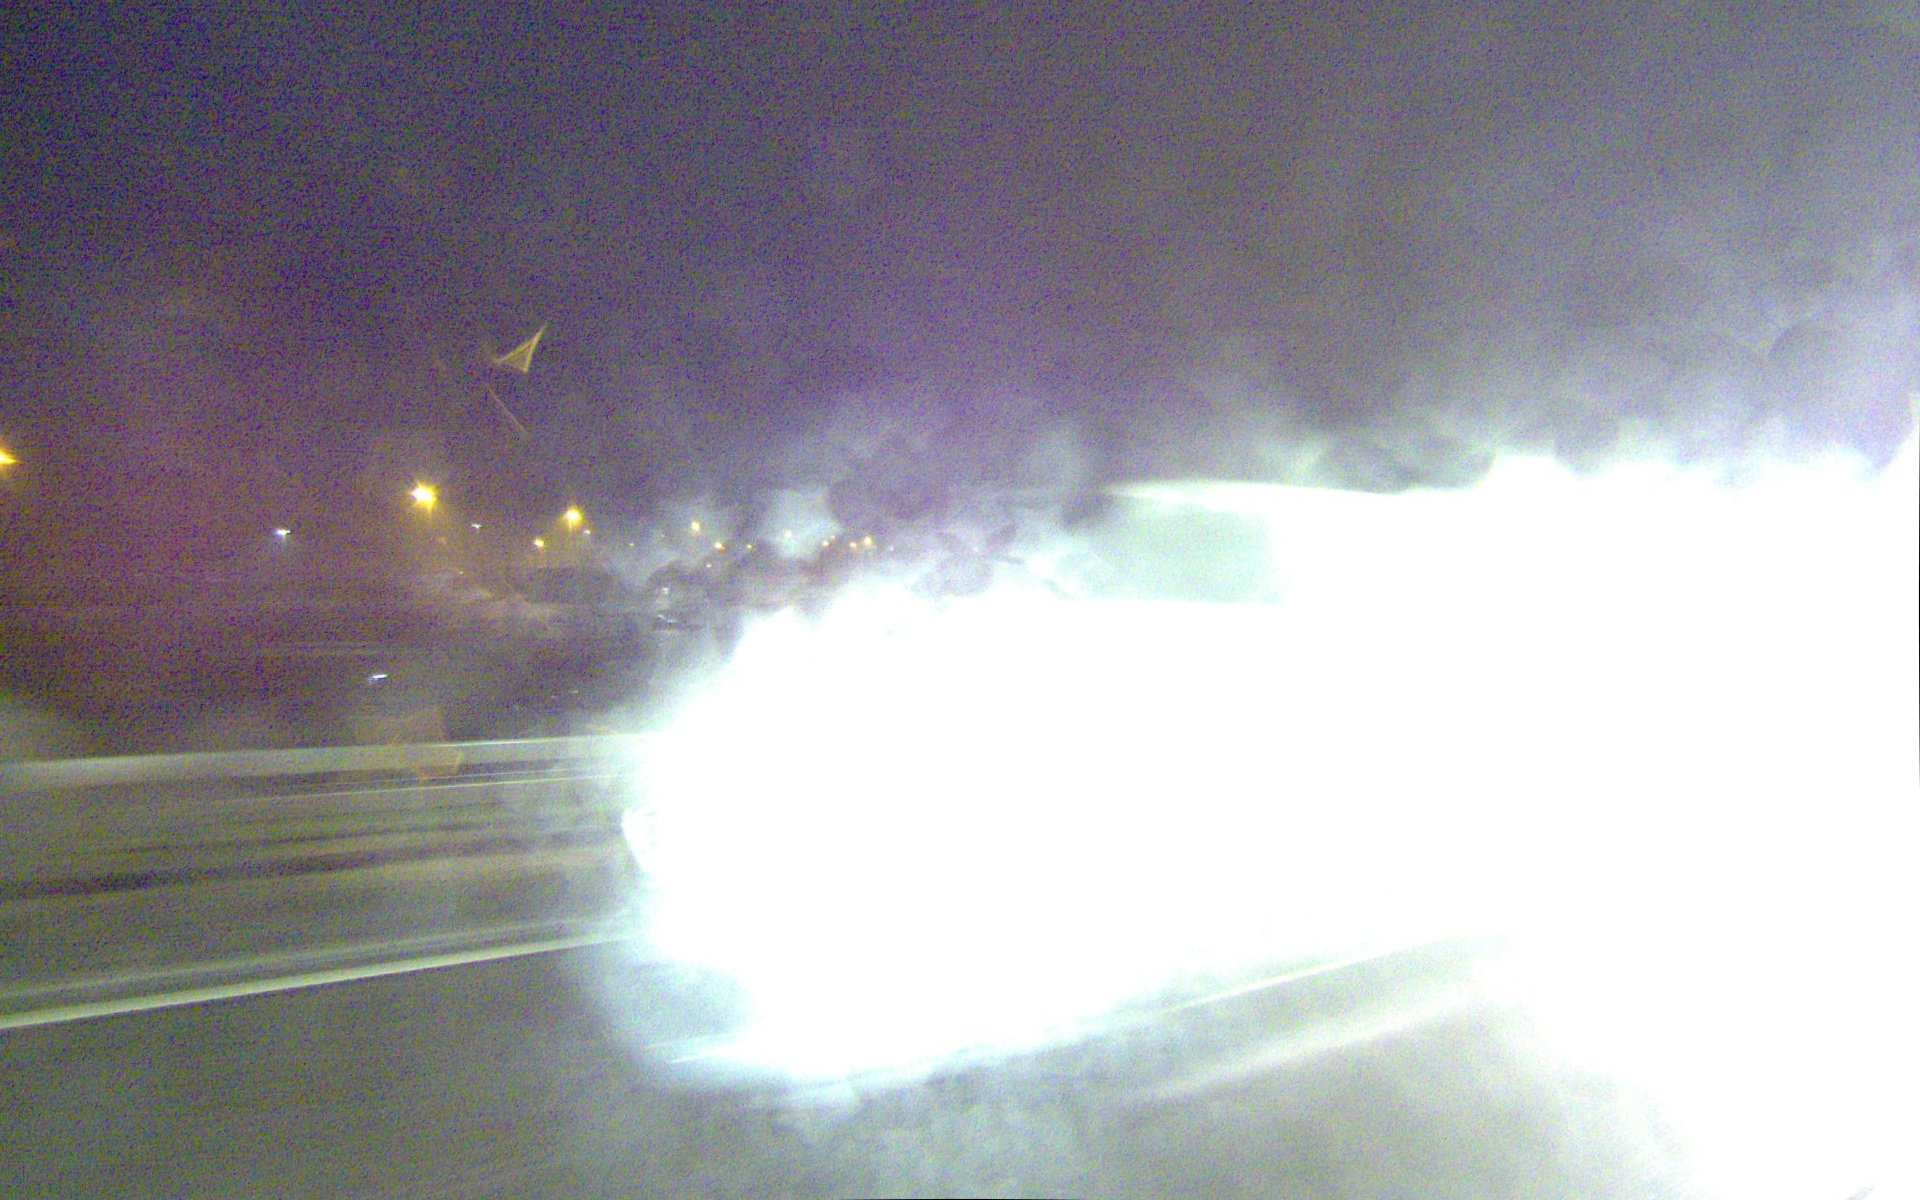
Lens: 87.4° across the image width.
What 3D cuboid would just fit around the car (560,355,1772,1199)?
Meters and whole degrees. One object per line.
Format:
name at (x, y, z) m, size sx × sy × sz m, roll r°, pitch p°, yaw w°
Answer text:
car at (1.251, 0.514, 4.700) m, size 5.436 × 2.014 × 2.434 m, roll 1°, pitch 0°, yaw -34°
